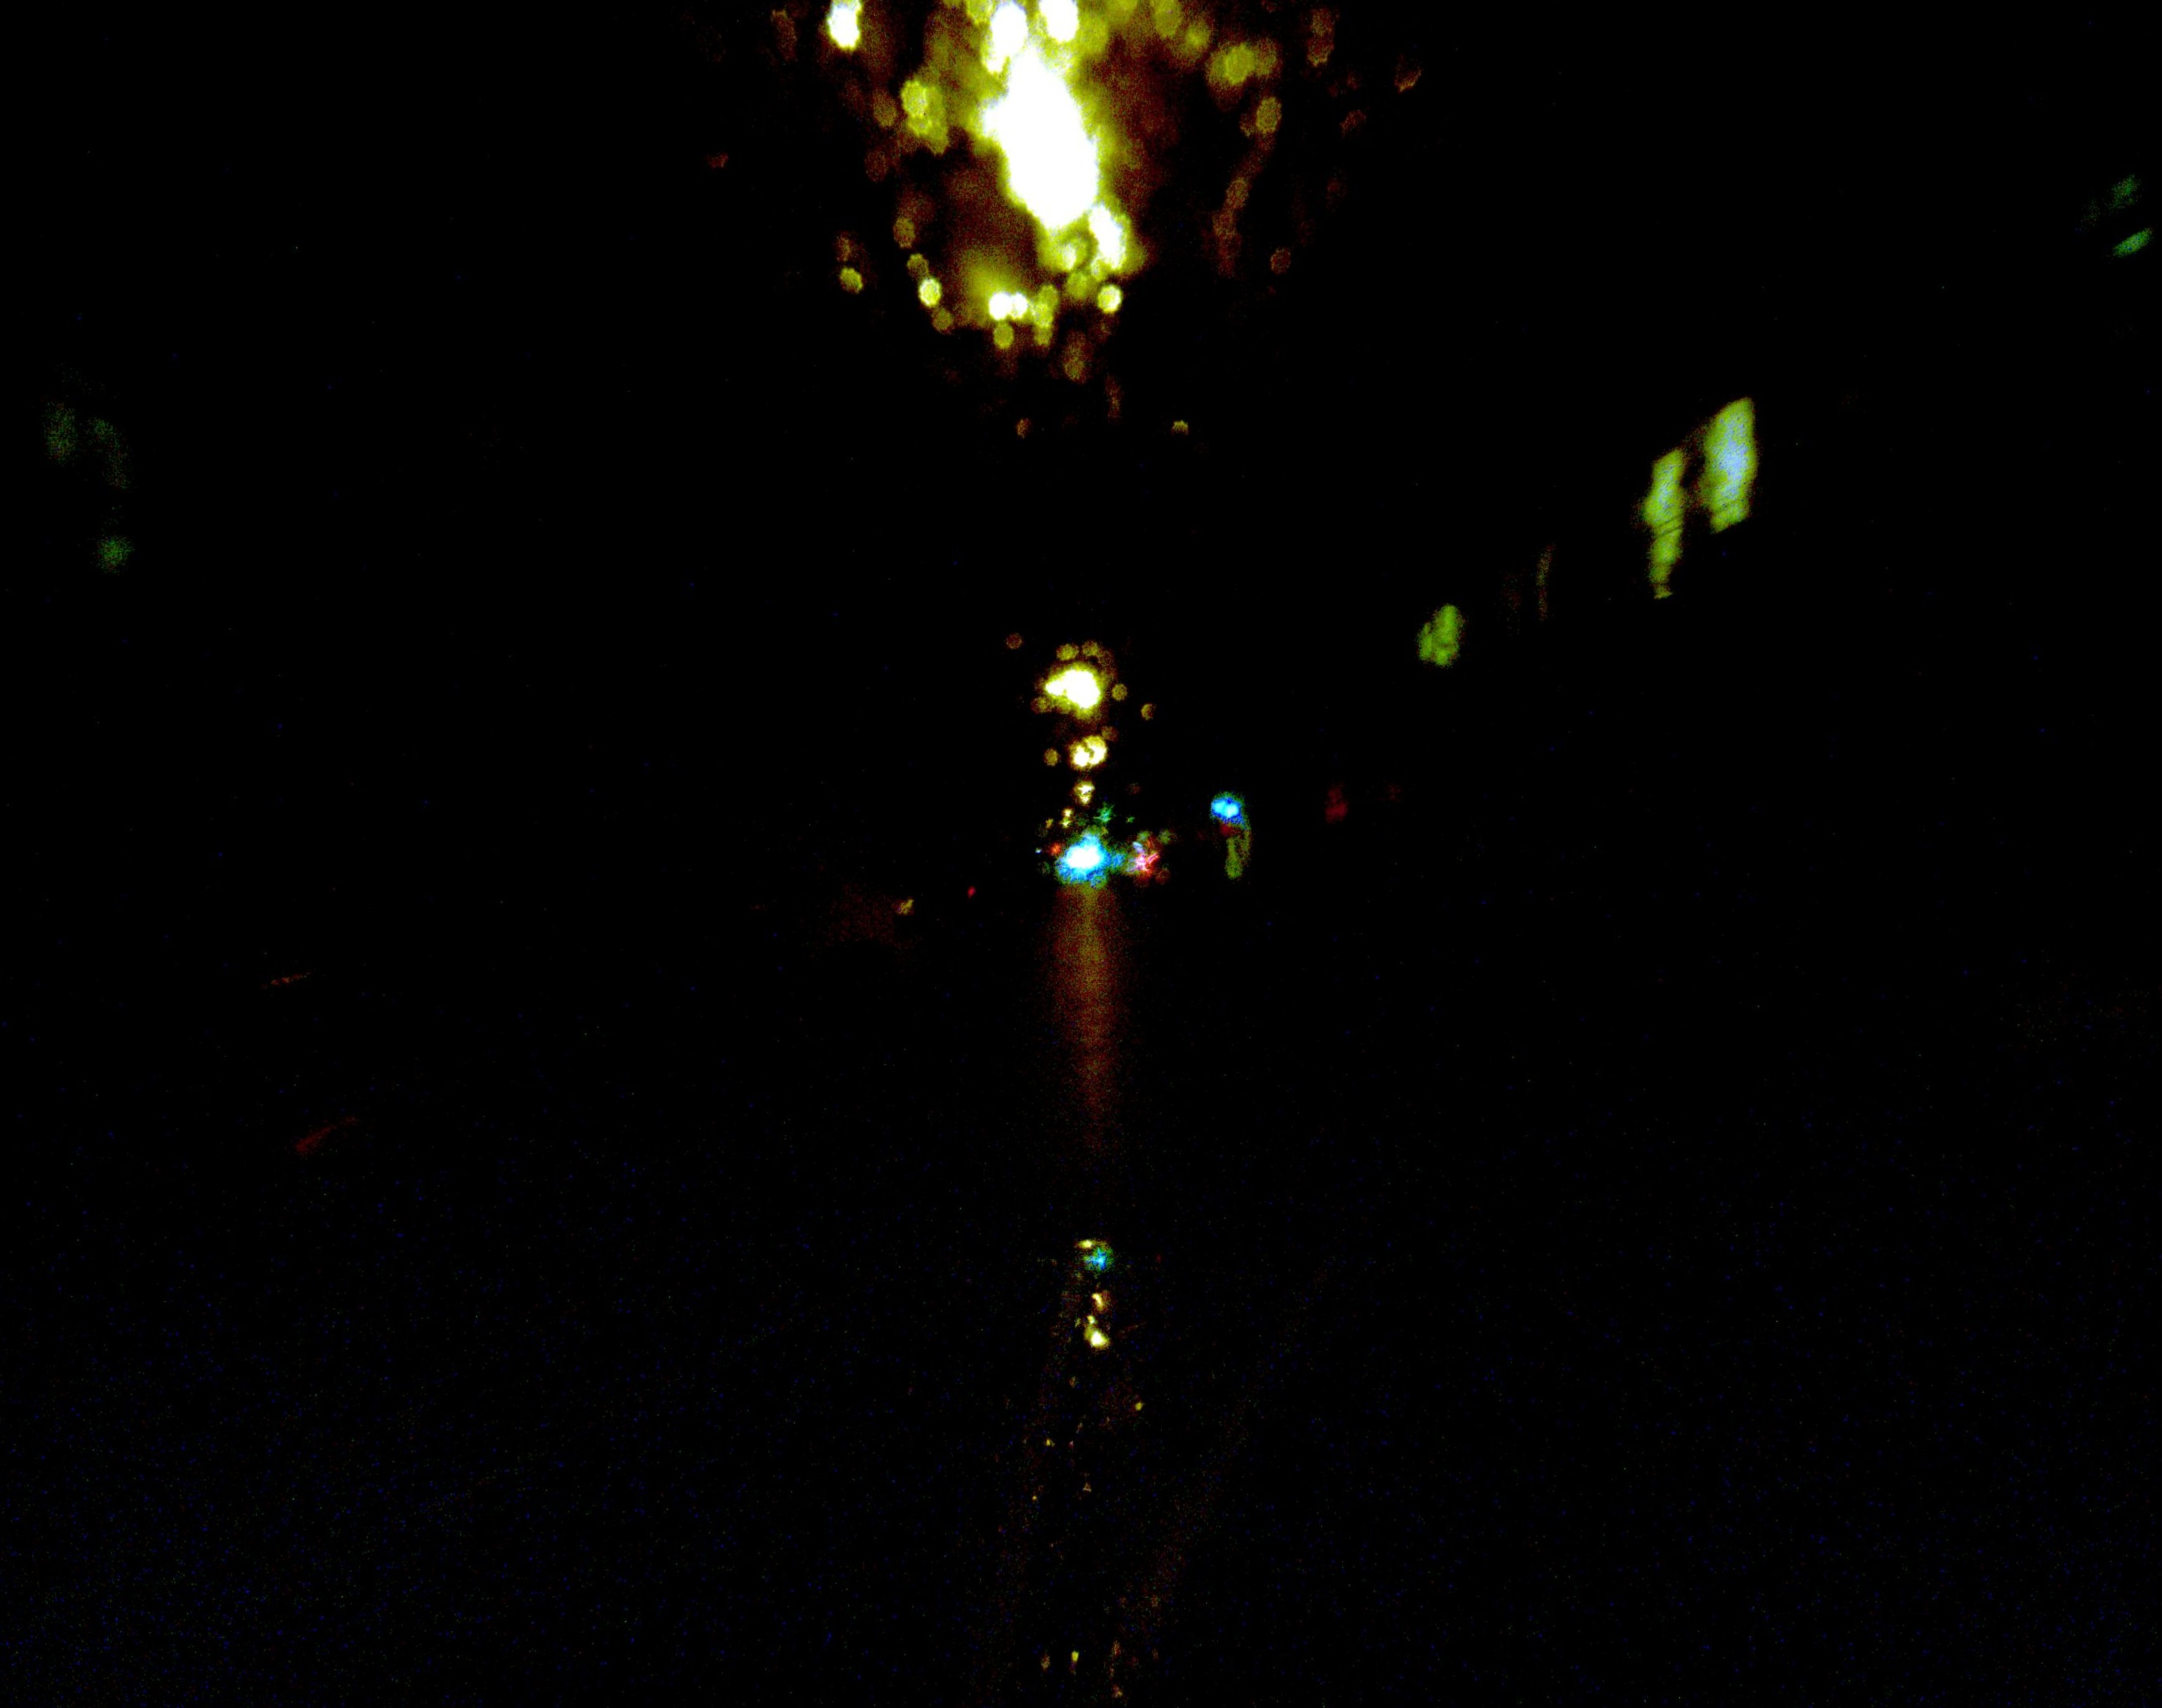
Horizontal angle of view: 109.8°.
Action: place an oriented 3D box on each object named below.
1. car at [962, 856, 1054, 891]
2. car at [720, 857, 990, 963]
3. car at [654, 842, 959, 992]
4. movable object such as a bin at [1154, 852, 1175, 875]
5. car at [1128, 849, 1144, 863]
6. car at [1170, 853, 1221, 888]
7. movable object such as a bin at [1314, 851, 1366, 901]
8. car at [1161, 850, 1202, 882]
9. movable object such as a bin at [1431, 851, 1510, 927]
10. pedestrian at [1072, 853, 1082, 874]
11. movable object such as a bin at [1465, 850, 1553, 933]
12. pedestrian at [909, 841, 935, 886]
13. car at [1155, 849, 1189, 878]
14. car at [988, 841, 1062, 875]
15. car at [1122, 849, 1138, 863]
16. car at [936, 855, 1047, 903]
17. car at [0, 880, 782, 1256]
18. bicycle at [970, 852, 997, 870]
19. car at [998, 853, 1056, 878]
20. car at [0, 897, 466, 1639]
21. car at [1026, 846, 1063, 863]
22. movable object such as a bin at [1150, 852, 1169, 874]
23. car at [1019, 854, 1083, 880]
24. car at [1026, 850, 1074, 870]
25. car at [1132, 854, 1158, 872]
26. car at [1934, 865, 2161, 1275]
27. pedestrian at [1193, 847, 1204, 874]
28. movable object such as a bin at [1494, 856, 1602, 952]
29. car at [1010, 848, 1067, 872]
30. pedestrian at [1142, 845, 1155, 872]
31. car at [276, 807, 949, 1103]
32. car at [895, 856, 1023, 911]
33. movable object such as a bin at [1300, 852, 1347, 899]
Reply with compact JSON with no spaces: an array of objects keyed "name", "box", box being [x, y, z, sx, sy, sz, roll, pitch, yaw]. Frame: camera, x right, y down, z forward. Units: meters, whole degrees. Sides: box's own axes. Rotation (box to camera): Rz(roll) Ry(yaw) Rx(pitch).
[{"name":"car","box":[-3.164,0.821,33.270,3.691,1.452,1.600,1,1,-34]},{"name":"car","box":[-3.731,0.847,12.670,4.007,1.484,1.730,1,1,-30]},{"name":"car","box":[-3.623,0.736,10.161,3.571,1.701,1.642,1,1,-28]},{"name":"movable object such as a bin","box":[5.473,0.594,49.944,1.265,1.451,1.151,-2,1,3]},{"name":"car","box":[6.225,0.213,86.100,1.550,1.434,3.563,-2,0,2]},{"name":"car","box":[5.193,0.705,34.940,1.690,1.447,4.315,-2,0,0]},{"name":"movable object such as a bin","box":[7.698,0.645,22.654,1.143,1.411,1.248,-2,1,3]},{"name":"car","box":[5.299,0.621,40.493,1.607,1.543,4.025,-2,0,0]},{"name":"movable object such as a bin","box":[7.725,0.668,15.137,0.977,1.411,1.133,-2,1,3]},{"name":"pedestrian","box":[-0.325,0.763,64.053,0.824,1.760,1.177,0,1,0]},{"name":"movable object such as a bin","box":[7.819,0.662,13.939,0.977,1.411,1.133,-2,1,3]},{"name":"pedestrian","box":[-6.752,0.402,32.350,0.871,1.845,0.993,1,1,-2]},{"name":"car","box":[5.507,0.538,46.337,1.607,1.696,3.721,-1,0,0]},{"name":"car","box":[-3.819,0.263,52.319,4.734,2.235,1.941,0,1,-35]},{"name":"car","box":[6.108,0.235,95.507,1.871,1.835,4.827,0,0,1]},{"name":"car","box":[-3.190,0.855,27.372,3.660,1.571,1.588,-1,0,-38]},{"name":"car","box":[-3.741,0.931,4.410,3.521,1.486,1.447,1,1,-31]},{"name":"bicycle","box":[-7.970,0.569,62.251,1.975,1.327,0.783,2,1,7]},{"name":"car","box":[-3.515,0.740,49.644,3.407,1.533,1.573,0,1,-36]},{"name":"car","box":[-3.735,0.913,1.670,3.572,1.476,1.721,1,1,-35]},{"name":"car","box":[-5.319,0.057,110.357,4.951,2.327,2.226,0,1,-34]},{"name":"movable object such as a bin","box":[5.277,0.599,51.185,1.167,1.451,1.107,-2,1,3]},{"name":"car","box":[-1.839,0.778,47.018,3.659,1.533,1.556,0,1,-29]},{"name":"car","box":[-2.952,0.568,72.711,4.112,1.754,1.855,-2,0,-27]},{"name":"car","box":[5.039,0.704,60.169,1.658,1.351,4.222,-1,0,0]},{"name":"car","box":[4.728,0.803,1.635,1.591,1.474,3.793,-1,0,2]},{"name":"pedestrian","box":[7.656,0.405,49.684,0.641,1.771,0.549,0,1,1]},{"name":"movable object such as a bin","box":[7.276,0.746,11.906,0.977,1.390,1.133,-2,1,3]},{"name":"car","box":[-3.422,0.489,61.433,4.256,1.848,1.712,1,1,-35]},{"name":"pedestrian","box":[5.016,0.353,56.233,0.645,2.001,0.676,2,0,-30]},{"name":"car","box":[-3.937,0.684,7.315,4.807,2.037,2.062,-1,0,-30]},{"name":"car","box":[-3.858,0.887,24.232,3.659,1.571,1.588,-2,1,-32]},{"name":"movable object such as a bin","box":[7.737,0.659,24.288,1.143,1.411,1.154,-2,1,3]}]
